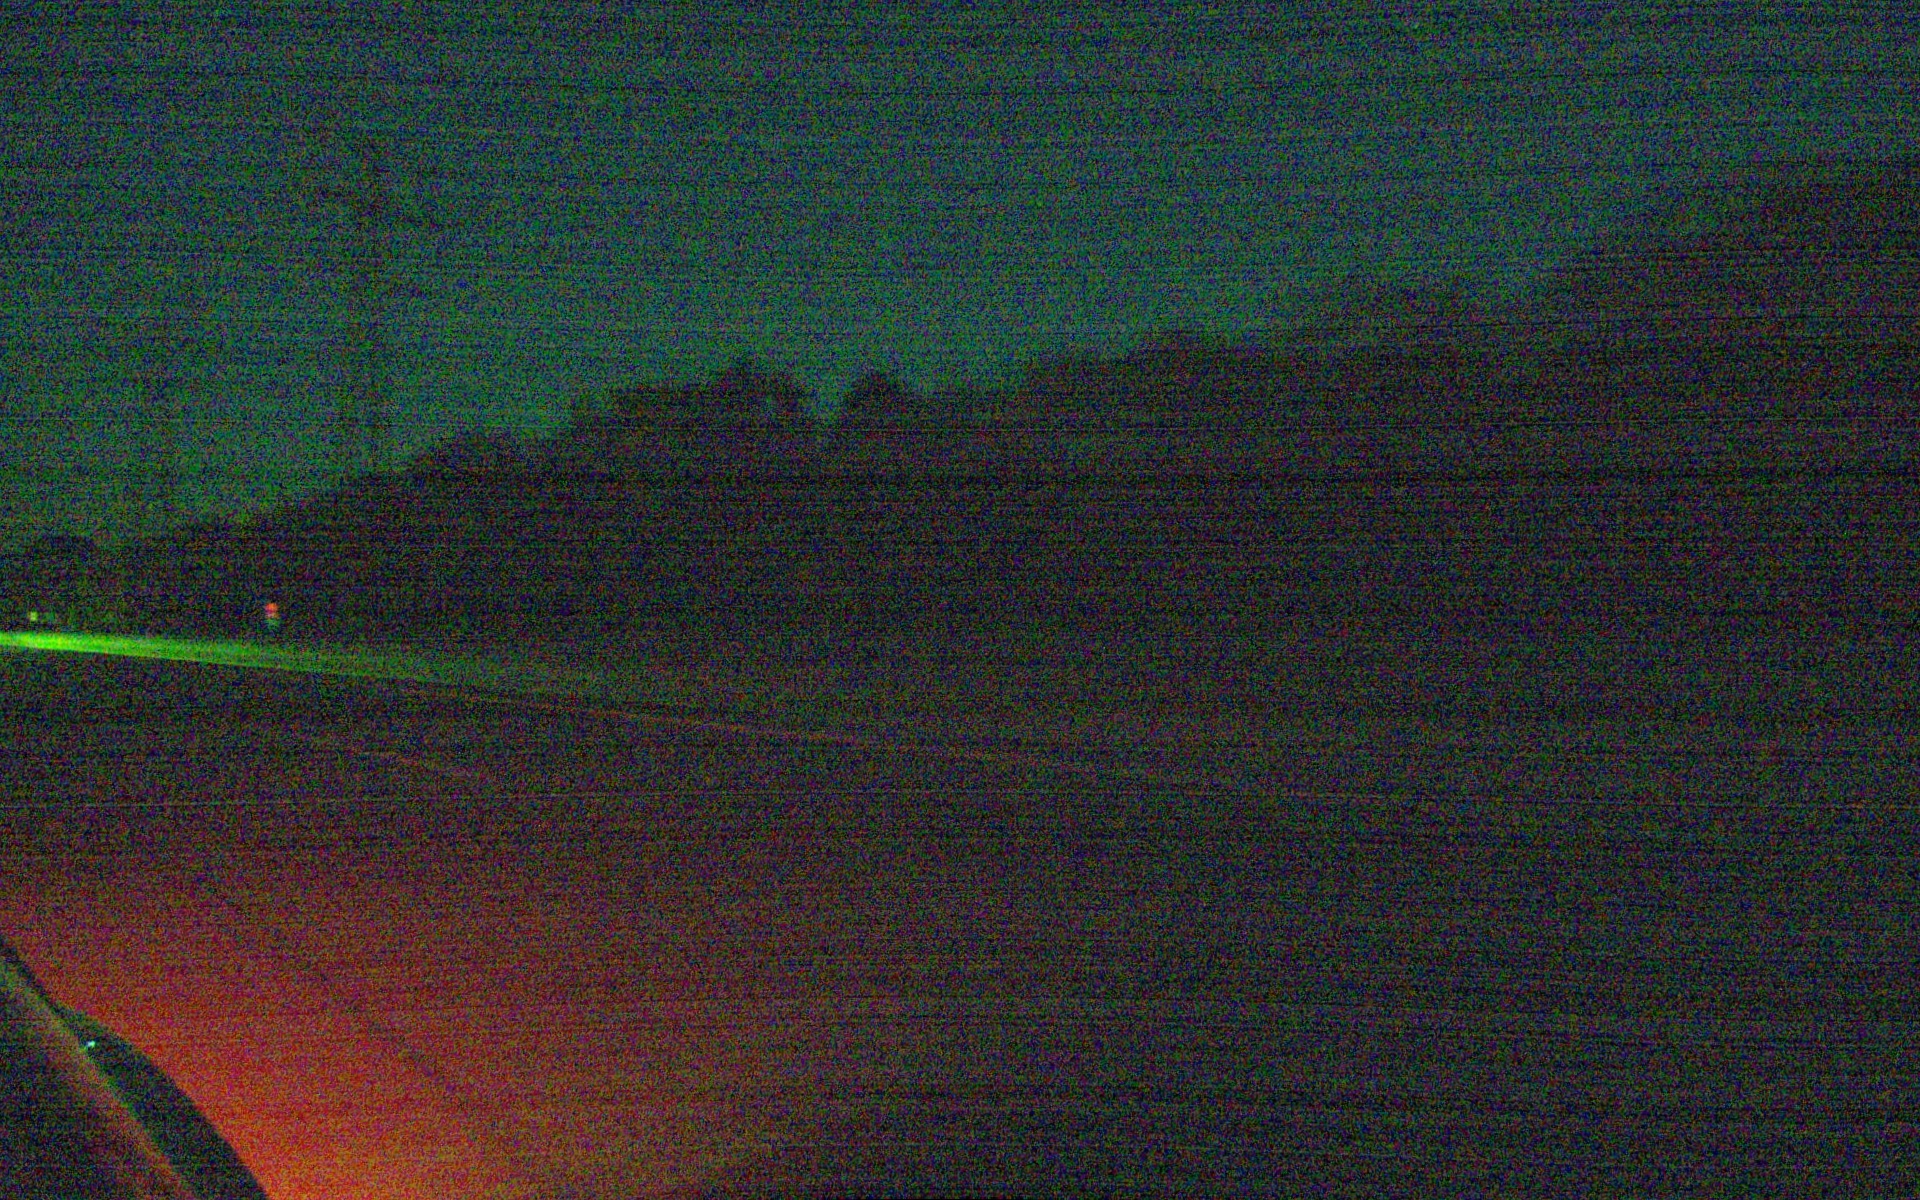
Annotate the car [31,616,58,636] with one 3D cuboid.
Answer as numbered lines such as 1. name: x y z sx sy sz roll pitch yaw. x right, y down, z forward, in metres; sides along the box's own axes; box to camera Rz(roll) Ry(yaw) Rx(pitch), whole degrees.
1. car: -111.442 3.159 123.223 3.998 2.261 1.973 -1 -1 41
